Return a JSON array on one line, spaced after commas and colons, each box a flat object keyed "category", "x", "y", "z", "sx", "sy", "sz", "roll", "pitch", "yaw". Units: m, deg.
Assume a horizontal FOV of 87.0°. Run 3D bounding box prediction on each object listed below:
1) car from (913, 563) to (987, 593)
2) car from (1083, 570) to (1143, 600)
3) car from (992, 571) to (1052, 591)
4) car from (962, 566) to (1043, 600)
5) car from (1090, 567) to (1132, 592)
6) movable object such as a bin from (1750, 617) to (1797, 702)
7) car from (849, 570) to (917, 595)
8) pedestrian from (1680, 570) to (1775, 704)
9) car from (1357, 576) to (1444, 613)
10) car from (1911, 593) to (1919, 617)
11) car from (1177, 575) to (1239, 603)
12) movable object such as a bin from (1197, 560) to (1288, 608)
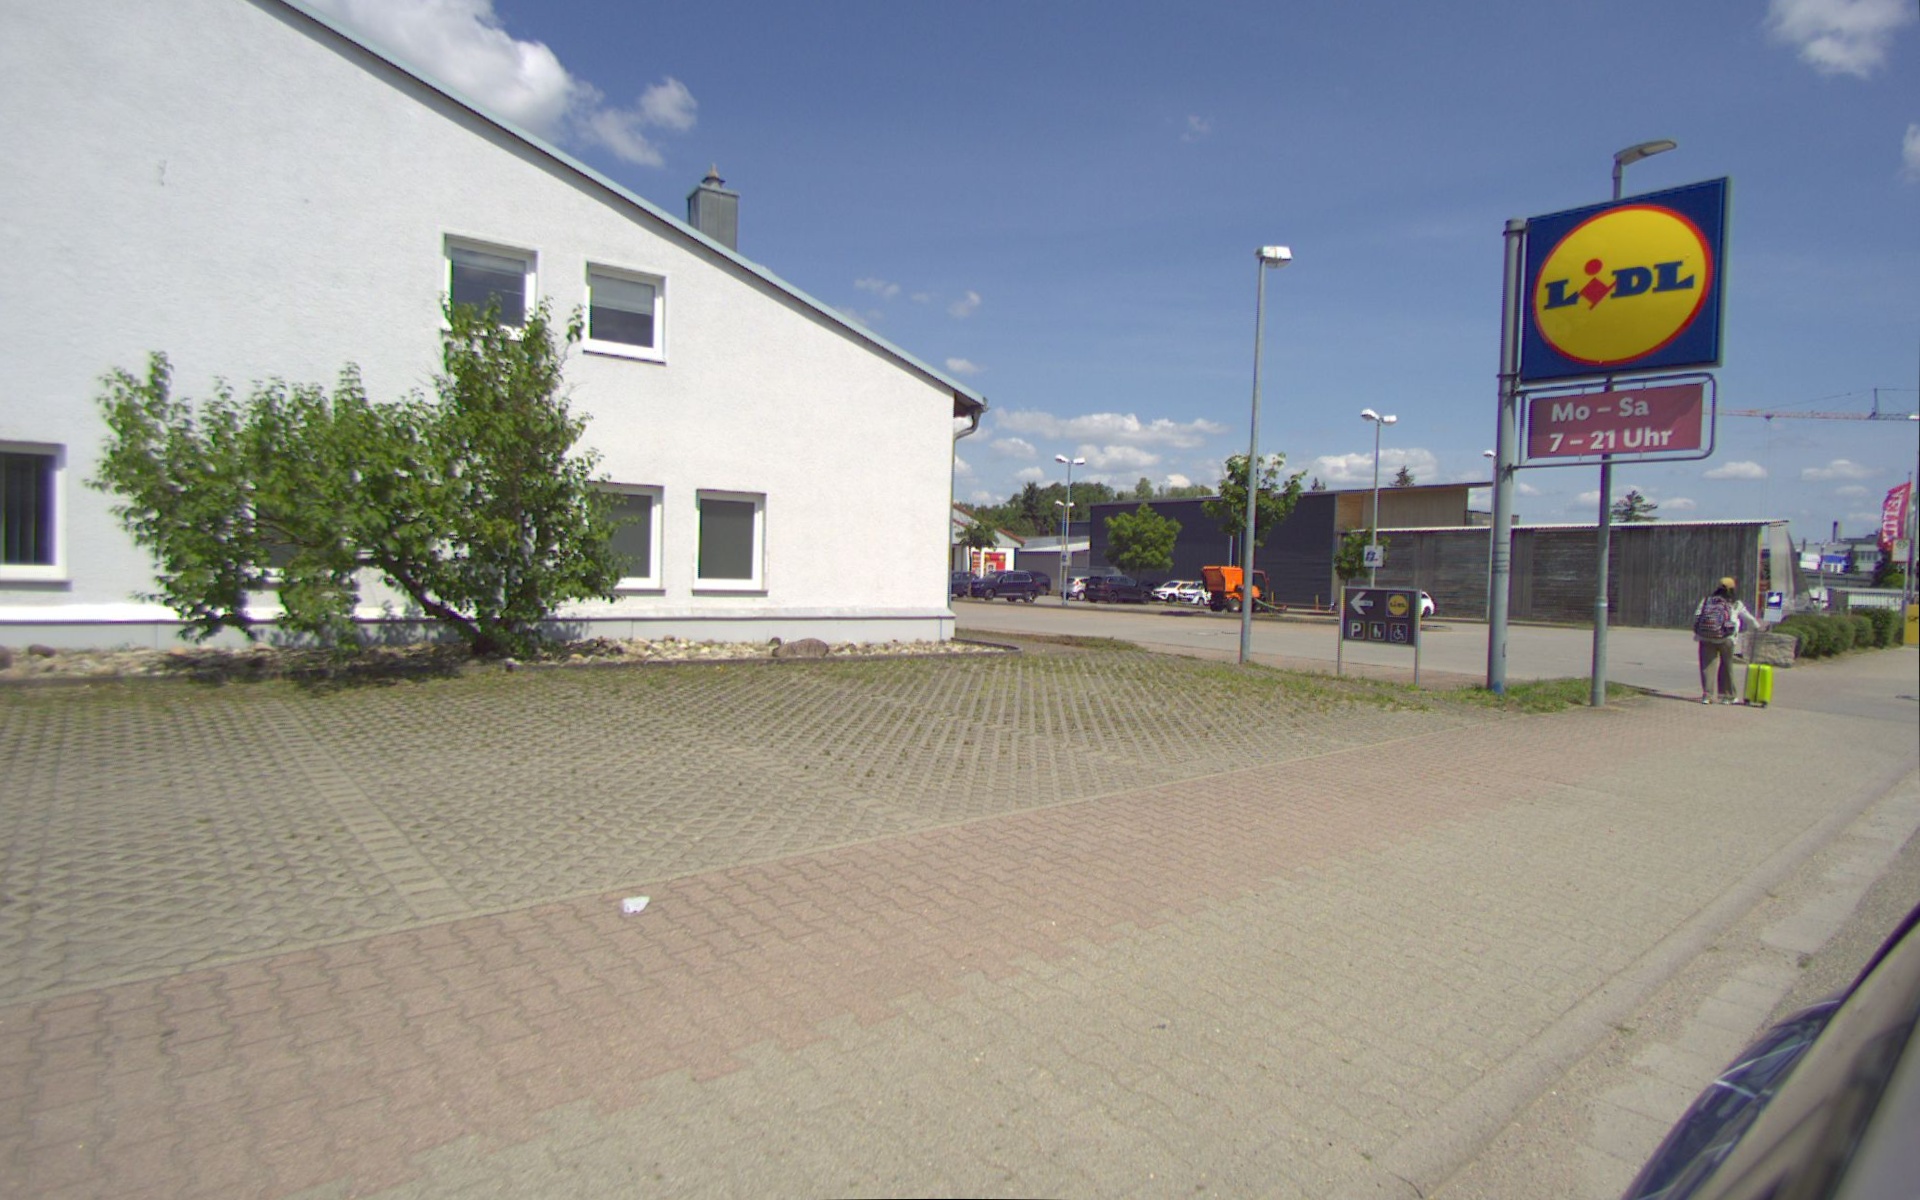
[{"category": "car", "x": -0.539, "y": -1.212, "z": 56.128, "sx": 3.928, "sy": 1.612, "sz": 1.584, "roll": 0, "pitch": 2, "yaw": -39}, {"category": "car", "x": 8.996, "y": -0.894, "z": 59.441, "sx": 3.273, "sy": 1.631, "sz": 1.514, "roll": -2, "pitch": 4, "yaw": -29}, {"category": "car", "x": 4.186, "y": -1.275, "z": 68.683, "sx": 3.711, "sy": 1.187, "sz": 1.618, "roll": 1, "pitch": 3, "yaw": -27}, {"category": "car", "x": 2.231, "y": -0.869, "z": 52.335, "sx": 3.919, "sy": 1.651, "sz": 1.587, "roll": 1, "pitch": 1, "yaw": -30}, {"category": "car", "x": 10.098, "y": -1.356, "z": 67.496, "sx": 2.622, "sy": 1.586, "sz": 1.226, "roll": 0, "pitch": 3, "yaw": -37}, {"category": "movable object such as a bin", "x": 10.479, "y": 0.753, "z": 13.034, "sx": 0.491, "sy": 1.042, "sz": 0.374, "roll": 0, "pitch": 3, "yaw": -45}, {"category": "car", "x": -4.605, "y": -1.025, "z": 60.745, "sx": 3.931, "sy": 1.428, "sz": 1.583, "roll": 0, "pitch": 2, "yaw": -42}, {"category": "pedestrian", "x": 9.893, "y": 0.441, "z": 13.038, "sx": 1.190, "sy": 1.621, "sz": 0.762, "roll": 0, "pitch": 1, "yaw": -44}, {"category": "car", "x": 22.035, "y": -0.248, "z": 50.600, "sx": 4.353, "sy": 1.682, "sz": 2.001, "roll": 2, "pitch": 1, "yaw": -35}, {"category": "car", "x": 71.699, "y": 0.472, "z": 73.137, "sx": 1.771, "sy": 1.653, "sz": 4.218, "roll": -3, "pitch": 5, "yaw": -43}, {"category": "car", "x": 14.994, "y": -0.641, "z": 61.133, "sx": 3.927, "sy": 1.593, "sz": 1.584, "roll": 0, "pitch": 2, "yaw": -38}, {"category": "movable object such as a bin", "x": 14.351, "y": -0.789, "z": 51.372, "sx": 4.430, "sy": 2.231, "sz": 1.688, "roll": 1, "pitch": 2, "yaw": -29}]
